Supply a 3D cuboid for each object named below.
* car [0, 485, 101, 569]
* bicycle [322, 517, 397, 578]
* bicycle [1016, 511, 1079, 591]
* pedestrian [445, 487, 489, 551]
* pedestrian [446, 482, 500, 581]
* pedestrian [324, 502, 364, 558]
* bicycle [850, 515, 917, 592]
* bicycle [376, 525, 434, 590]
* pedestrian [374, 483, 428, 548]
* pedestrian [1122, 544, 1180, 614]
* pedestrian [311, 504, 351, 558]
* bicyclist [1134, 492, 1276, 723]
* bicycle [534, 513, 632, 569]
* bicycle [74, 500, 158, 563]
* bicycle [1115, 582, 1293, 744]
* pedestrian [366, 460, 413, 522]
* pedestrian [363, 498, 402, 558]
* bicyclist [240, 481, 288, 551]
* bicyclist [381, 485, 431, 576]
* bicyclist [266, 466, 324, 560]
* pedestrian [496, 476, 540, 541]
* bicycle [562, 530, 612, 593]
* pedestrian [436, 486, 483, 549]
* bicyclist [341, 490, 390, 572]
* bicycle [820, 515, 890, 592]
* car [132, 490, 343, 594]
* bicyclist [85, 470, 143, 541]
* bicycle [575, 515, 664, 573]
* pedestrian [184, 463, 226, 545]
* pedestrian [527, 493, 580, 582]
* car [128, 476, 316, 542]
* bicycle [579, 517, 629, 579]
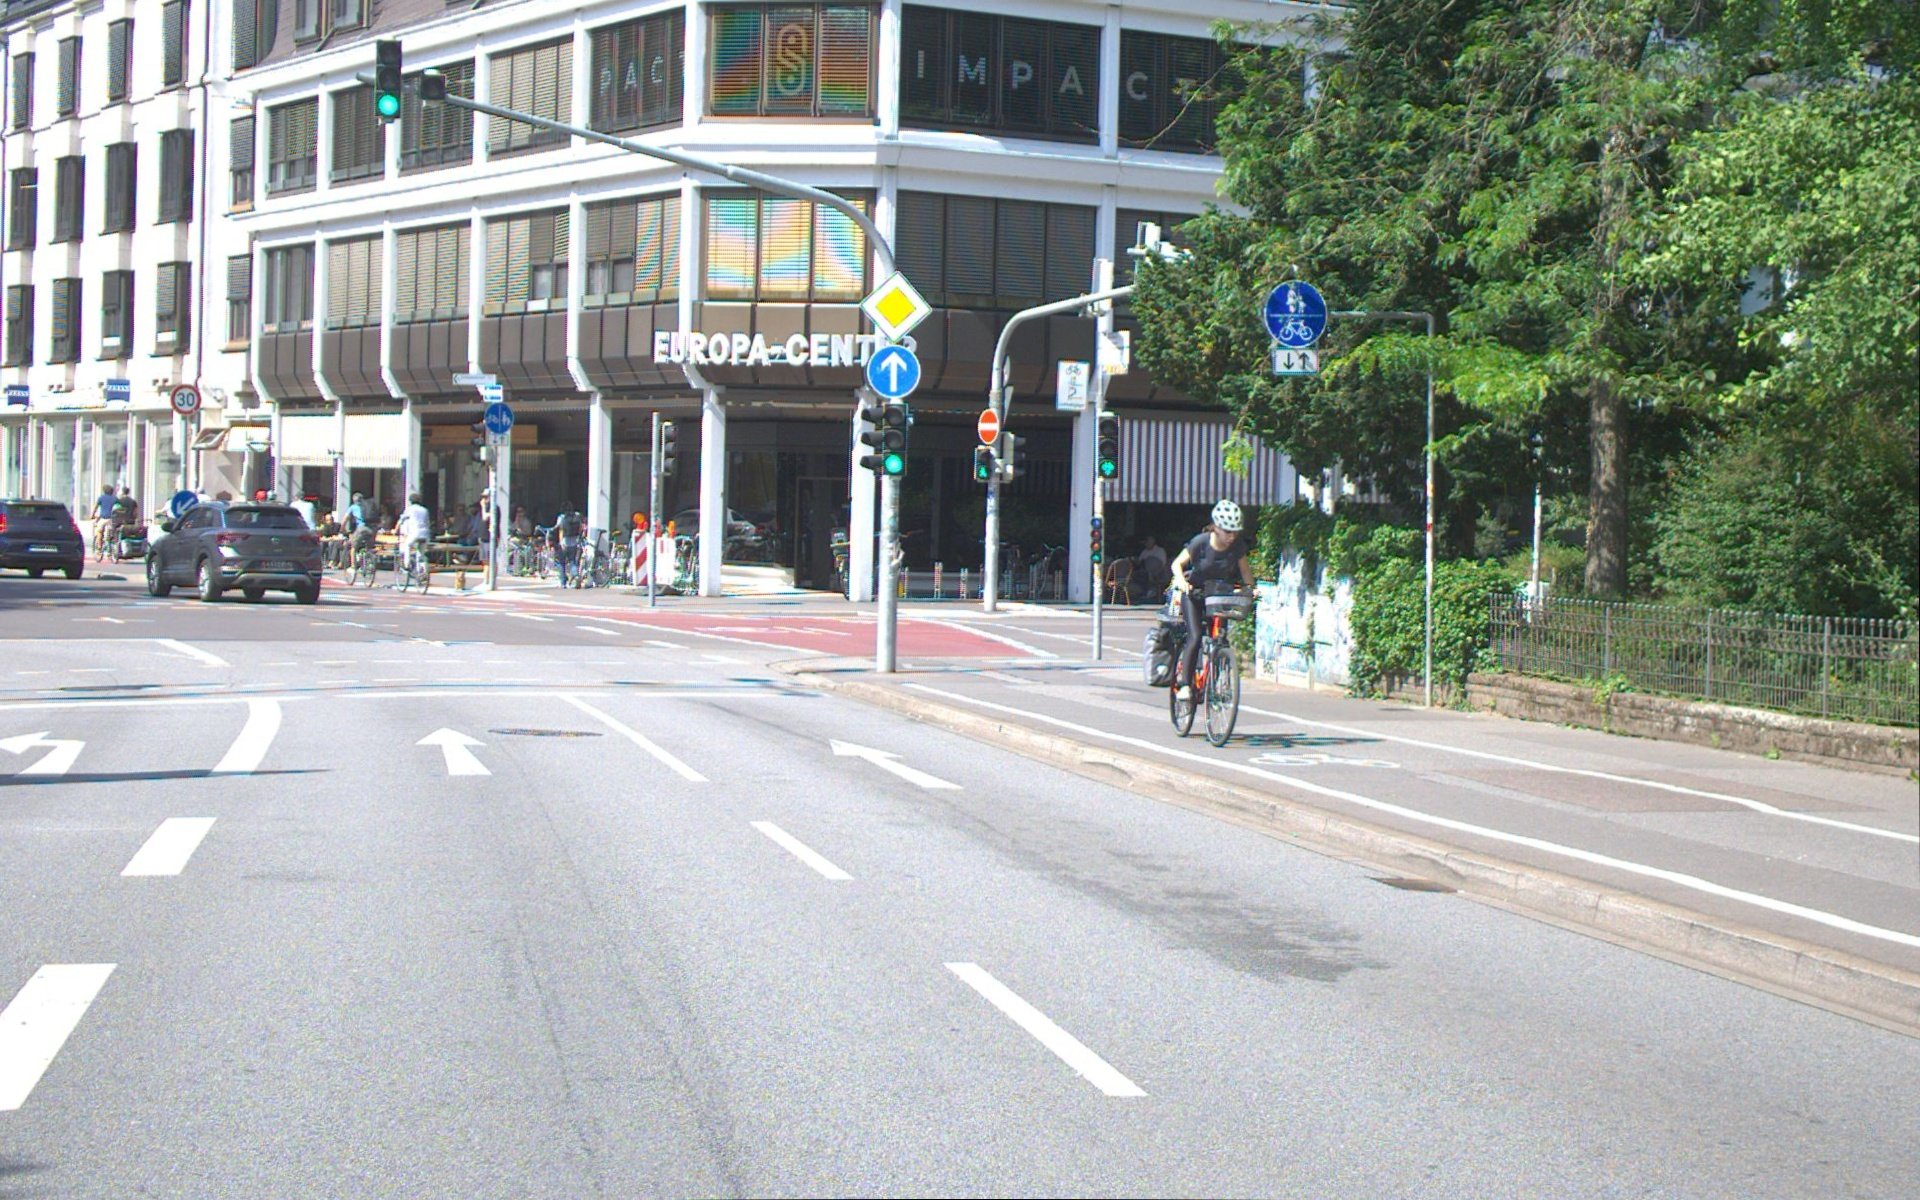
[{"bbox_3d":[-17.692,-1.381,64.894,1.833,1.522,4.000,-1,2,-30],"label":"car"},{"bbox_3d":[-11.485,-1.014,65.723,0.620,1.095,2.353,1,1,-30],"label":"bicycle"},{"bbox_3d":[1.641,-0.921,64.162,0.530,1.417,1.965,2,3,20],"label":"bicycle"},{"bbox_3d":[-10.898,-1.783,75.992,0.711,1.392,0.697,0,1,-32],"label":"pedestrian"},{"bbox_3d":[-9.099,-1.280,64.254,0.832,1.829,0.697,0,0,-22],"label":"pedestrian"},{"bbox_3d":[-13.455,-1.525,75.045,0.711,1.212,0.697,0,1,-22],"label":"pedestrian"},{"bbox_3d":[-1.374,-0.848,62.062,0.530,1.312,1.857,2,3,20],"label":"bicycle"},{"bbox_3d":[-10.132,-0.786,62.723,0.594,1.116,1.801,1,2,-23],"label":"bicycle"},{"bbox_3d":[-13.036,-1.978,80.211,0.877,1.363,0.537,12,-4,-32],"label":"pedestrian"},{"bbox_3d":[3.725,-0.419,66.978,0.827,1.330,0.970,2,2,23],"label":"pedestrian"},{"bbox_3d":[-13.870,-1.517,75.795,0.711,1.169,0.697,0,1,-22],"label":"pedestrian"},{"bbox_3d":[1.761,0.049,24.852,0.764,1.630,0.944,0,1,-13],"label":"bicyclist"},{"bbox_3d":[-7.576,-1.176,69.151,2.237,1.093,0.277,0,3,-44],"label":"bicycle"},{"bbox_3d":[-19.346,-1.585,78.738,0.978,1.381,3.002,1,1,-32],"label":"bicycle"},{"bbox_3d":[1.748,0.435,24.944,0.757,1.116,2.002,0,0,-12],"label":"bicycle"},{"bbox_3d":[-13.461,-2.577,81.103,0.744,1.362,0.584,-11,8,-31],"label":"pedestrian"},{"bbox_3d":[-13.519,-1.684,80.469,0.761,1.363,0.478,0,2,-32],"label":"pedestrian"},{"bbox_3d":[-13.703,-1.654,67.651,0.620,1.350,0.847,1,1,-33],"label":"bicyclist"},{"bbox_3d":[-10.046,-1.258,62.320,0.694,1.620,0.836,0,2,-23],"label":"bicyclist"},{"bbox_3d":[-12.241,-1.602,63.295,0.694,1.668,0.916,3,2,-30],"label":"bicyclist"},{"bbox_3d":[-9.551,-1.982,74.346,0.711,1.392,0.697,0,1,-32],"label":"pedestrian"},{"bbox_3d":[-7.089,-0.745,65.265,0.276,1.116,2.244,1,2,-23],"label":"bicycle"},{"bbox_3d":[-11.187,-1.837,76.804,0.813,1.392,0.697,1,1,-33],"label":"pedestrian"},{"bbox_3d":[-11.327,-1.313,65.447,0.620,1.524,0.869,1,1,-29],"label":"bicyclist"},{"bbox_3d":[-1.886,-0.854,62.191,0.530,1.312,1.965,2,3,20],"label":"bicycle"},{"bbox_3d":[-11.235,-0.917,53.271,1.833,1.522,4.000,-2,2,-33],"label":"car"},{"bbox_3d":[-19.432,-2.167,78.934,0.982,1.593,1.055,1,1,-31],"label":"bicyclist"},{"bbox_3d":[-6.599,-1.090,66.736,1.716,1.116,0.278,-1,3,-24],"label":"bicycle"},{"bbox_3d":[-16.124,-2.044,73.429,0.620,1.714,0.835,2,1,-29],"label":"pedestrian"},{"bbox_3d":[-7.684,-1.172,64.960,0.832,1.657,0.697,1,1,-22],"label":"pedestrian"},{"bbox_3d":[-17.702,-2.172,82.494,4.044,1.489,1.842,0,0,-29],"label":"car"},{"bbox_3d":[-6.803,-1.002,65.640,0.276,1.116,2.244,1,2,-23],"label":"bicycle"}]
